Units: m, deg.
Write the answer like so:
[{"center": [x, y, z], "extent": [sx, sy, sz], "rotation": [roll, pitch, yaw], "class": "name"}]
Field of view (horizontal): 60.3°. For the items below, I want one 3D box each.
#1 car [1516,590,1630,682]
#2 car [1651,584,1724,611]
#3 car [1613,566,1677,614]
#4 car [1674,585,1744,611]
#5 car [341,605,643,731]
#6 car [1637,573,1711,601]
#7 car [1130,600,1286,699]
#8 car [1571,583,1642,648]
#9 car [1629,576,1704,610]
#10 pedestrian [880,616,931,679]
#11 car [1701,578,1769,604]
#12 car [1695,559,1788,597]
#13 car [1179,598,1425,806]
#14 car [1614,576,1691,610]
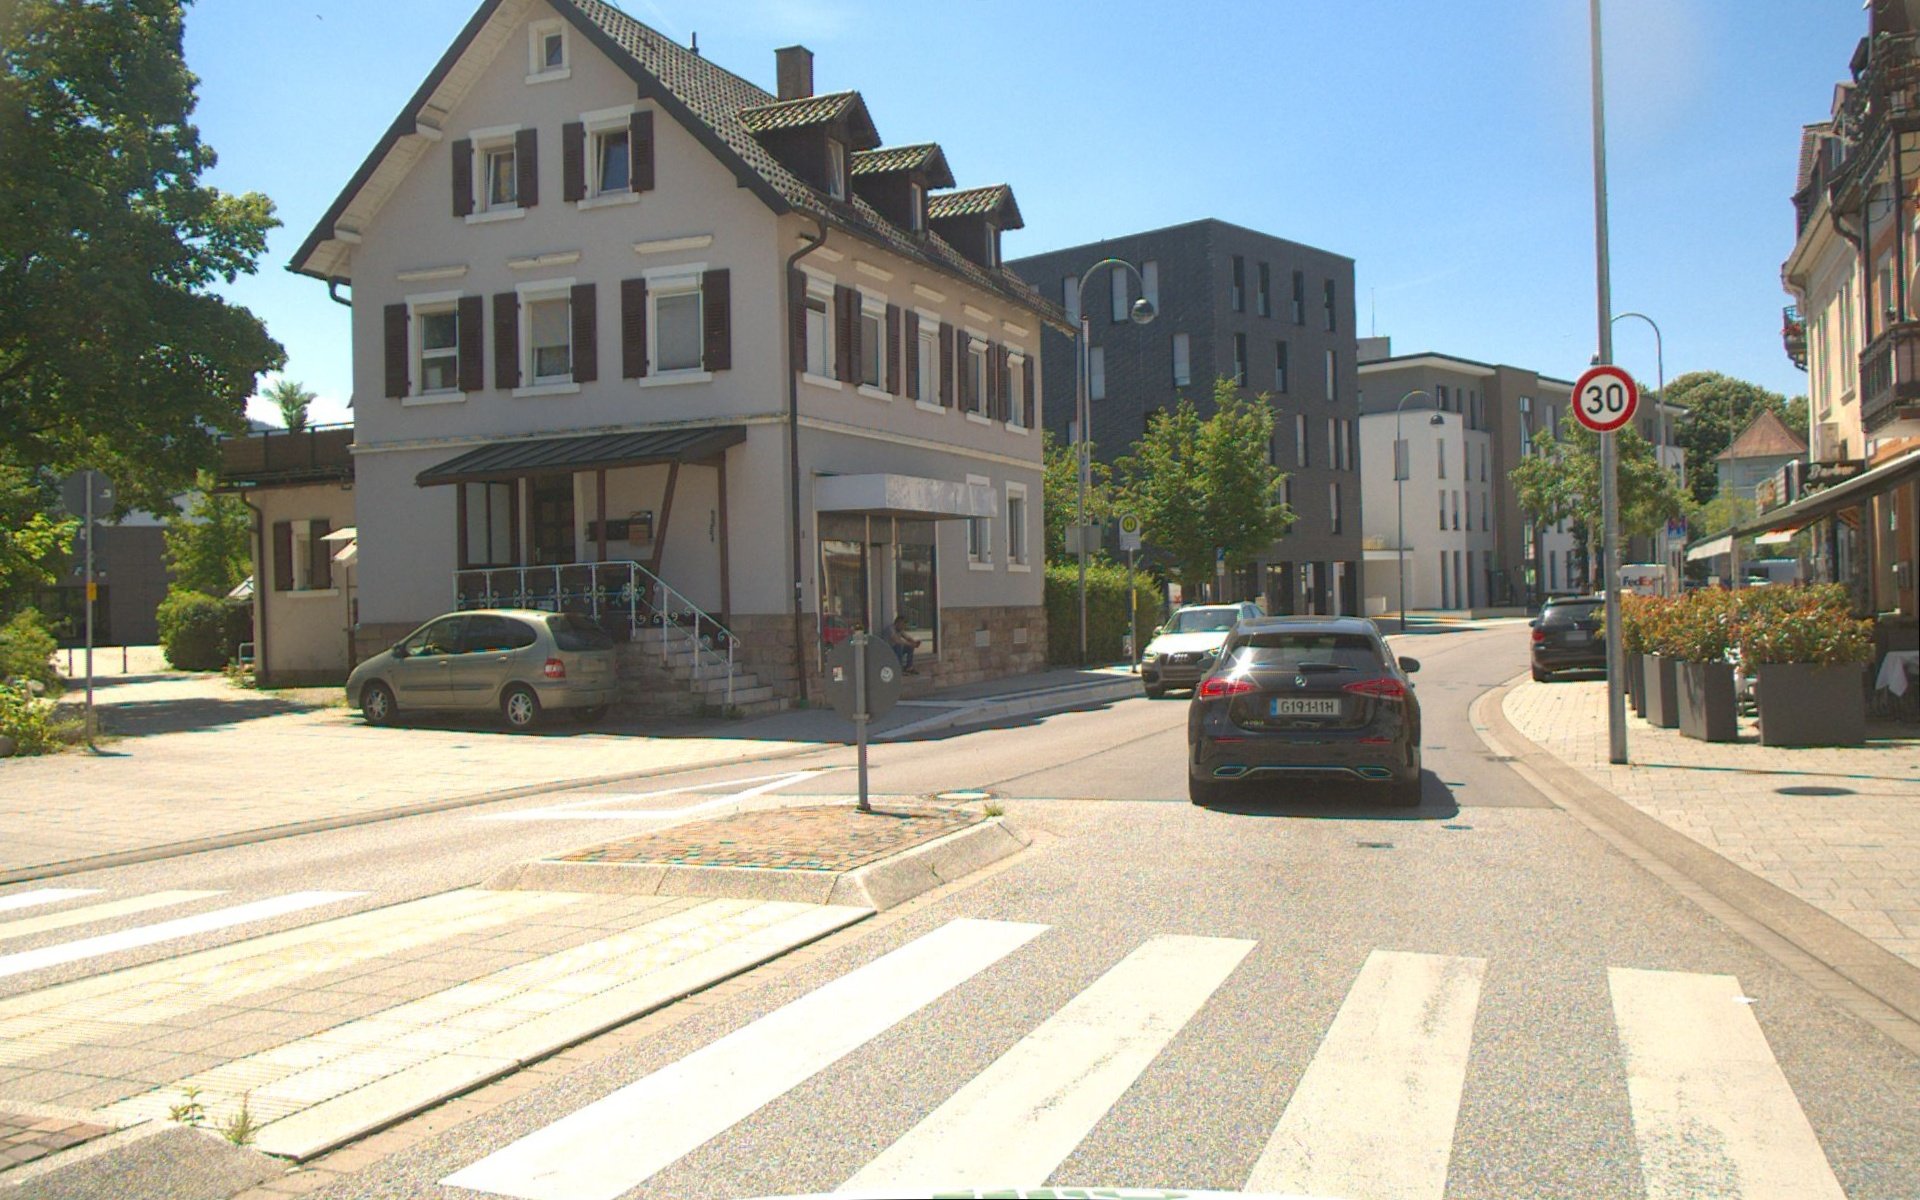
[{"center": [11.469, 0.623, 30.819], "extent": [1.715, 1.512, 3.999], "rotation": [-4, -1, 23], "class": "car"}, {"center": [47.832, -0.141, 108.759], "extent": [3.930, 1.691, 1.987], "rotation": [-1, 0, 43], "class": "car"}, {"center": [30.383, -0.435, 73.343], "extent": [1.958, 2.049, 3.990], "rotation": [-1, 0, 32], "class": "car"}, {"center": [50.504, -0.133, 111.546], "extent": [3.930, 1.691, 1.987], "rotation": [-1, 0, 43], "class": "car"}, {"center": [-6.688, 0.947, 23.641], "extent": [3.906, 1.668, 1.757], "rotation": [-1, 0, 23], "class": "car"}, {"center": [45.913, -0.837, 106.357], "extent": [3.930, 1.691, 1.987], "rotation": [-1, 0, 43], "class": "car"}, {"center": [4.544, 0.846, 29.838], "extent": [1.641, 1.570, 4.082], "rotation": [-4, -1, 24], "class": "car"}, {"center": [16.936, 0.386, 43.328], "extent": [1.573, 1.556, 3.492], "rotation": [-3, -1, 22], "class": "car"}, {"center": [44.575, -0.408, 104.405], "extent": [3.932, 2.049, 1.986], "rotation": [-1, 0, 44], "class": "car"}, {"center": [-0.941, 0.825, 28.742], "extent": [0.656, 1.073, 0.700], "rotation": [-1, 0, 19], "class": "pedestrian"}, {"center": [54.242, -0.638, 115.809], "extent": [3.930, 1.691, 1.987], "rotation": [-1, 0, 43], "class": "car"}, {"center": [56.914, -1.560, 120.512], "extent": [5.565, 2.624, 2.498], "rotation": [-1, 0, 45], "class": "car"}, {"center": [3.002, 0.793, 14.183], "extent": [1.725, 1.483, 4.441], "rotation": [-1, -2, 14], "class": "car"}, {"center": [42.977, -0.434, 102.661], "extent": [3.932, 2.049, 1.986], "rotation": [-1, 0, 44], "class": "car"}]
